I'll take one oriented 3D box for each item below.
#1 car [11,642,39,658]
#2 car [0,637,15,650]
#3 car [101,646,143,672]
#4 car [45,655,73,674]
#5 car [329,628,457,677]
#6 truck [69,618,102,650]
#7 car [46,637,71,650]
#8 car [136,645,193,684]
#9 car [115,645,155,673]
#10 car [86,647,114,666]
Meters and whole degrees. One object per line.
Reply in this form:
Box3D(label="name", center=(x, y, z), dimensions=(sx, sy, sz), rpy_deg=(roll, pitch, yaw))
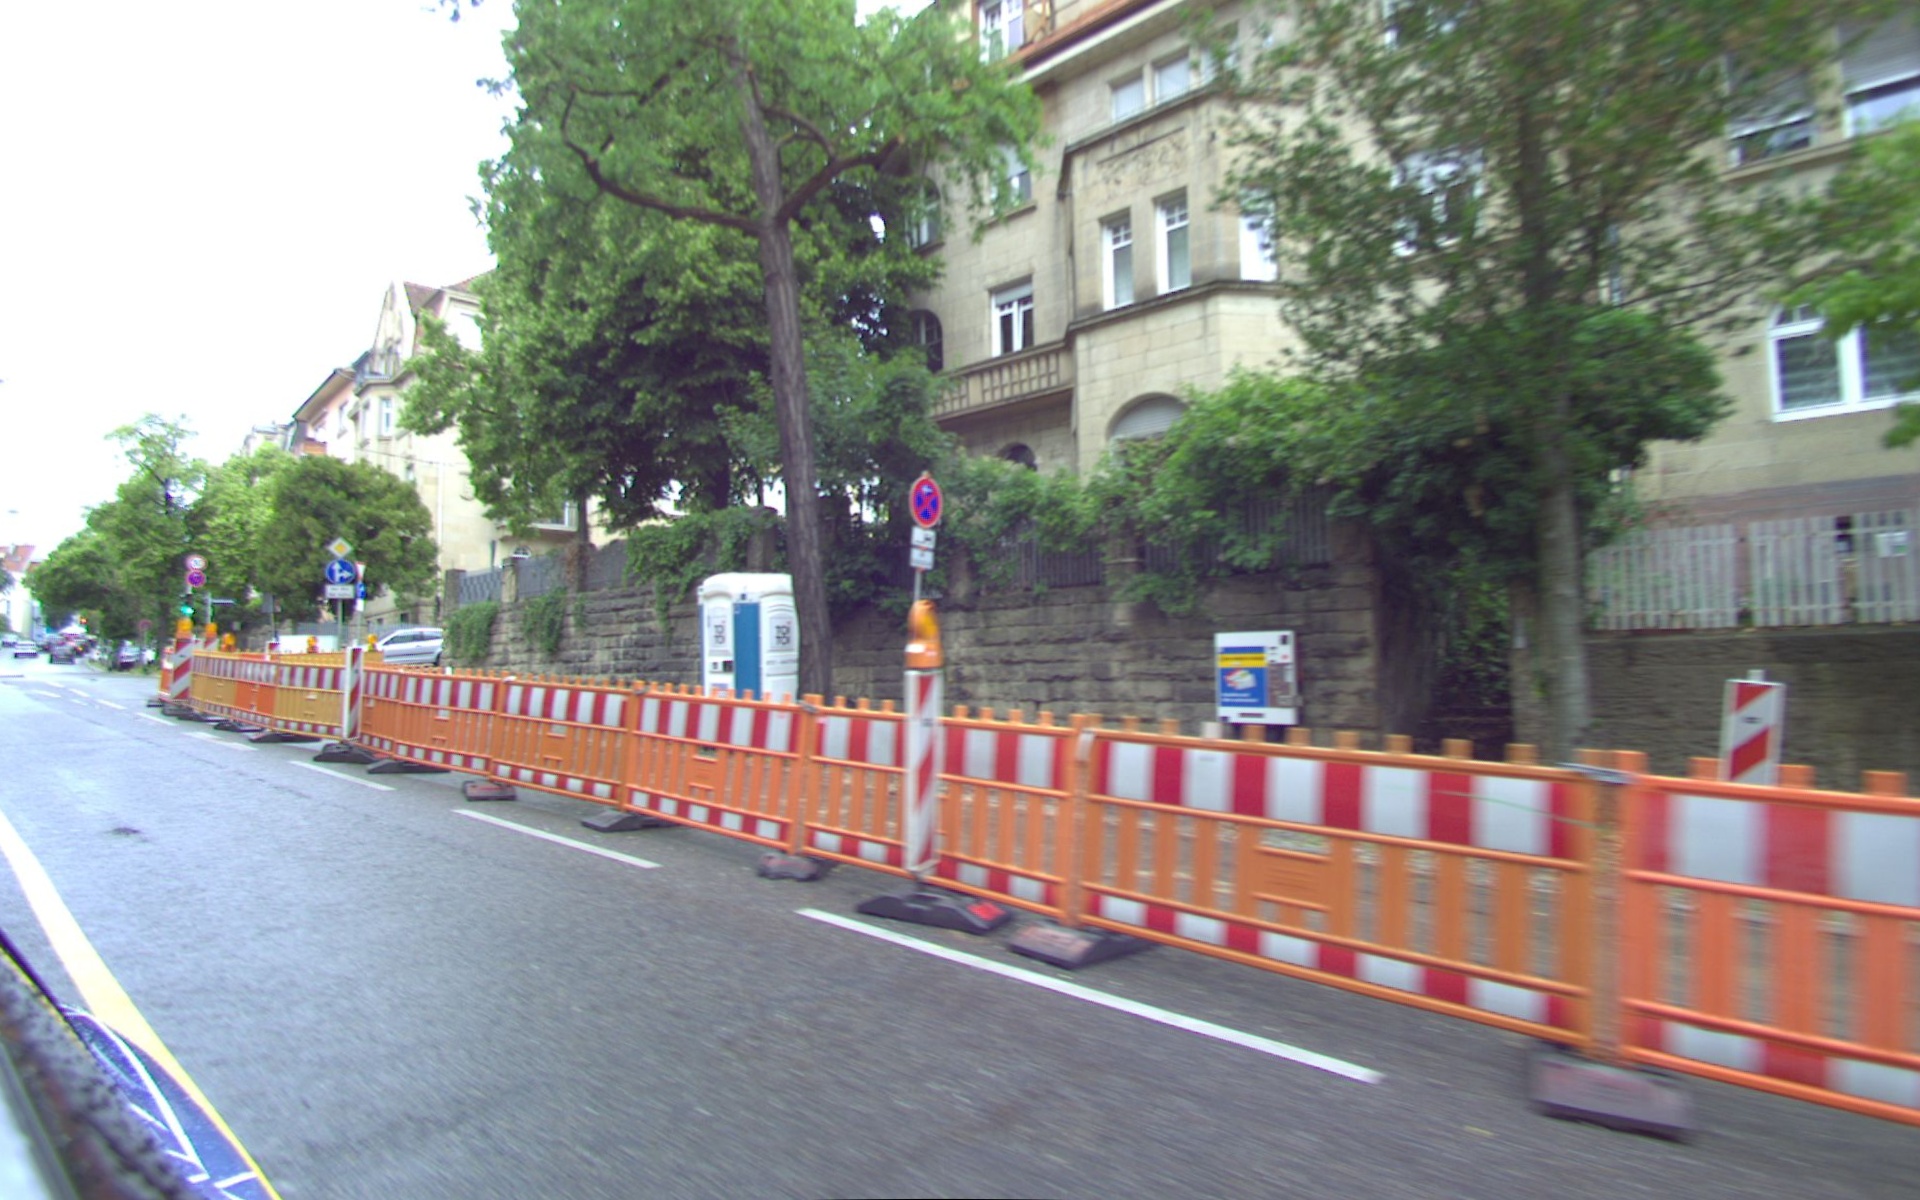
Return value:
Box3D(label="car", center=(-92.936, 5.003, 100.631), dimensions=(1.749, 1.529, 4.106), rpy_deg=(2, -3, -39))
Box3D(label="car", center=(-118.334, 5.359, 125.067), dimensions=(1.896, 1.573, 4.020), rpy_deg=(6, -5, -38))
Box3D(label="car", center=(-56.544, 3.958, 68.297), dimensions=(4.304, 1.571, 1.722), rpy_deg=(-2, 0, 45))
Box3D(label="car", center=(-82.290, 5.949, 92.415), dimensions=(1.793, 1.529, 4.552), rpy_deg=(4, -8, -43))
Box3D(label="car", center=(-20.612, 1.866, 36.840), dimensions=(3.812, 1.419, 1.830), rpy_deg=(-3, 2, -38))
Box3D(label="truck", center=(-111.321, 4.385, 128.799), dimensions=(2.616, 3.884, 9.315), rpy_deg=(4, -5, -43))
Box3D(label="car", center=(-106.969, 5.143, 120.115), dimensions=(1.689, 1.491, 4.123), rpy_deg=(4, -4, -36))
Box3D(label="car", center=(-36.463, 2.906, 46.350), dimensions=(1.720, 1.571, 4.307), rpy_deg=(-1, -1, -42))
Box3D(label="car", center=(-50.829, 3.616, 62.315), dimensions=(1.720, 1.571, 4.307), rpy_deg=(-1, -1, -42))
Box3D(label="car", center=(-79.723, 5.204, 93.804), dimensions=(1.721, 1.571, 4.305), rpy_deg=(-1, -1, -44))
